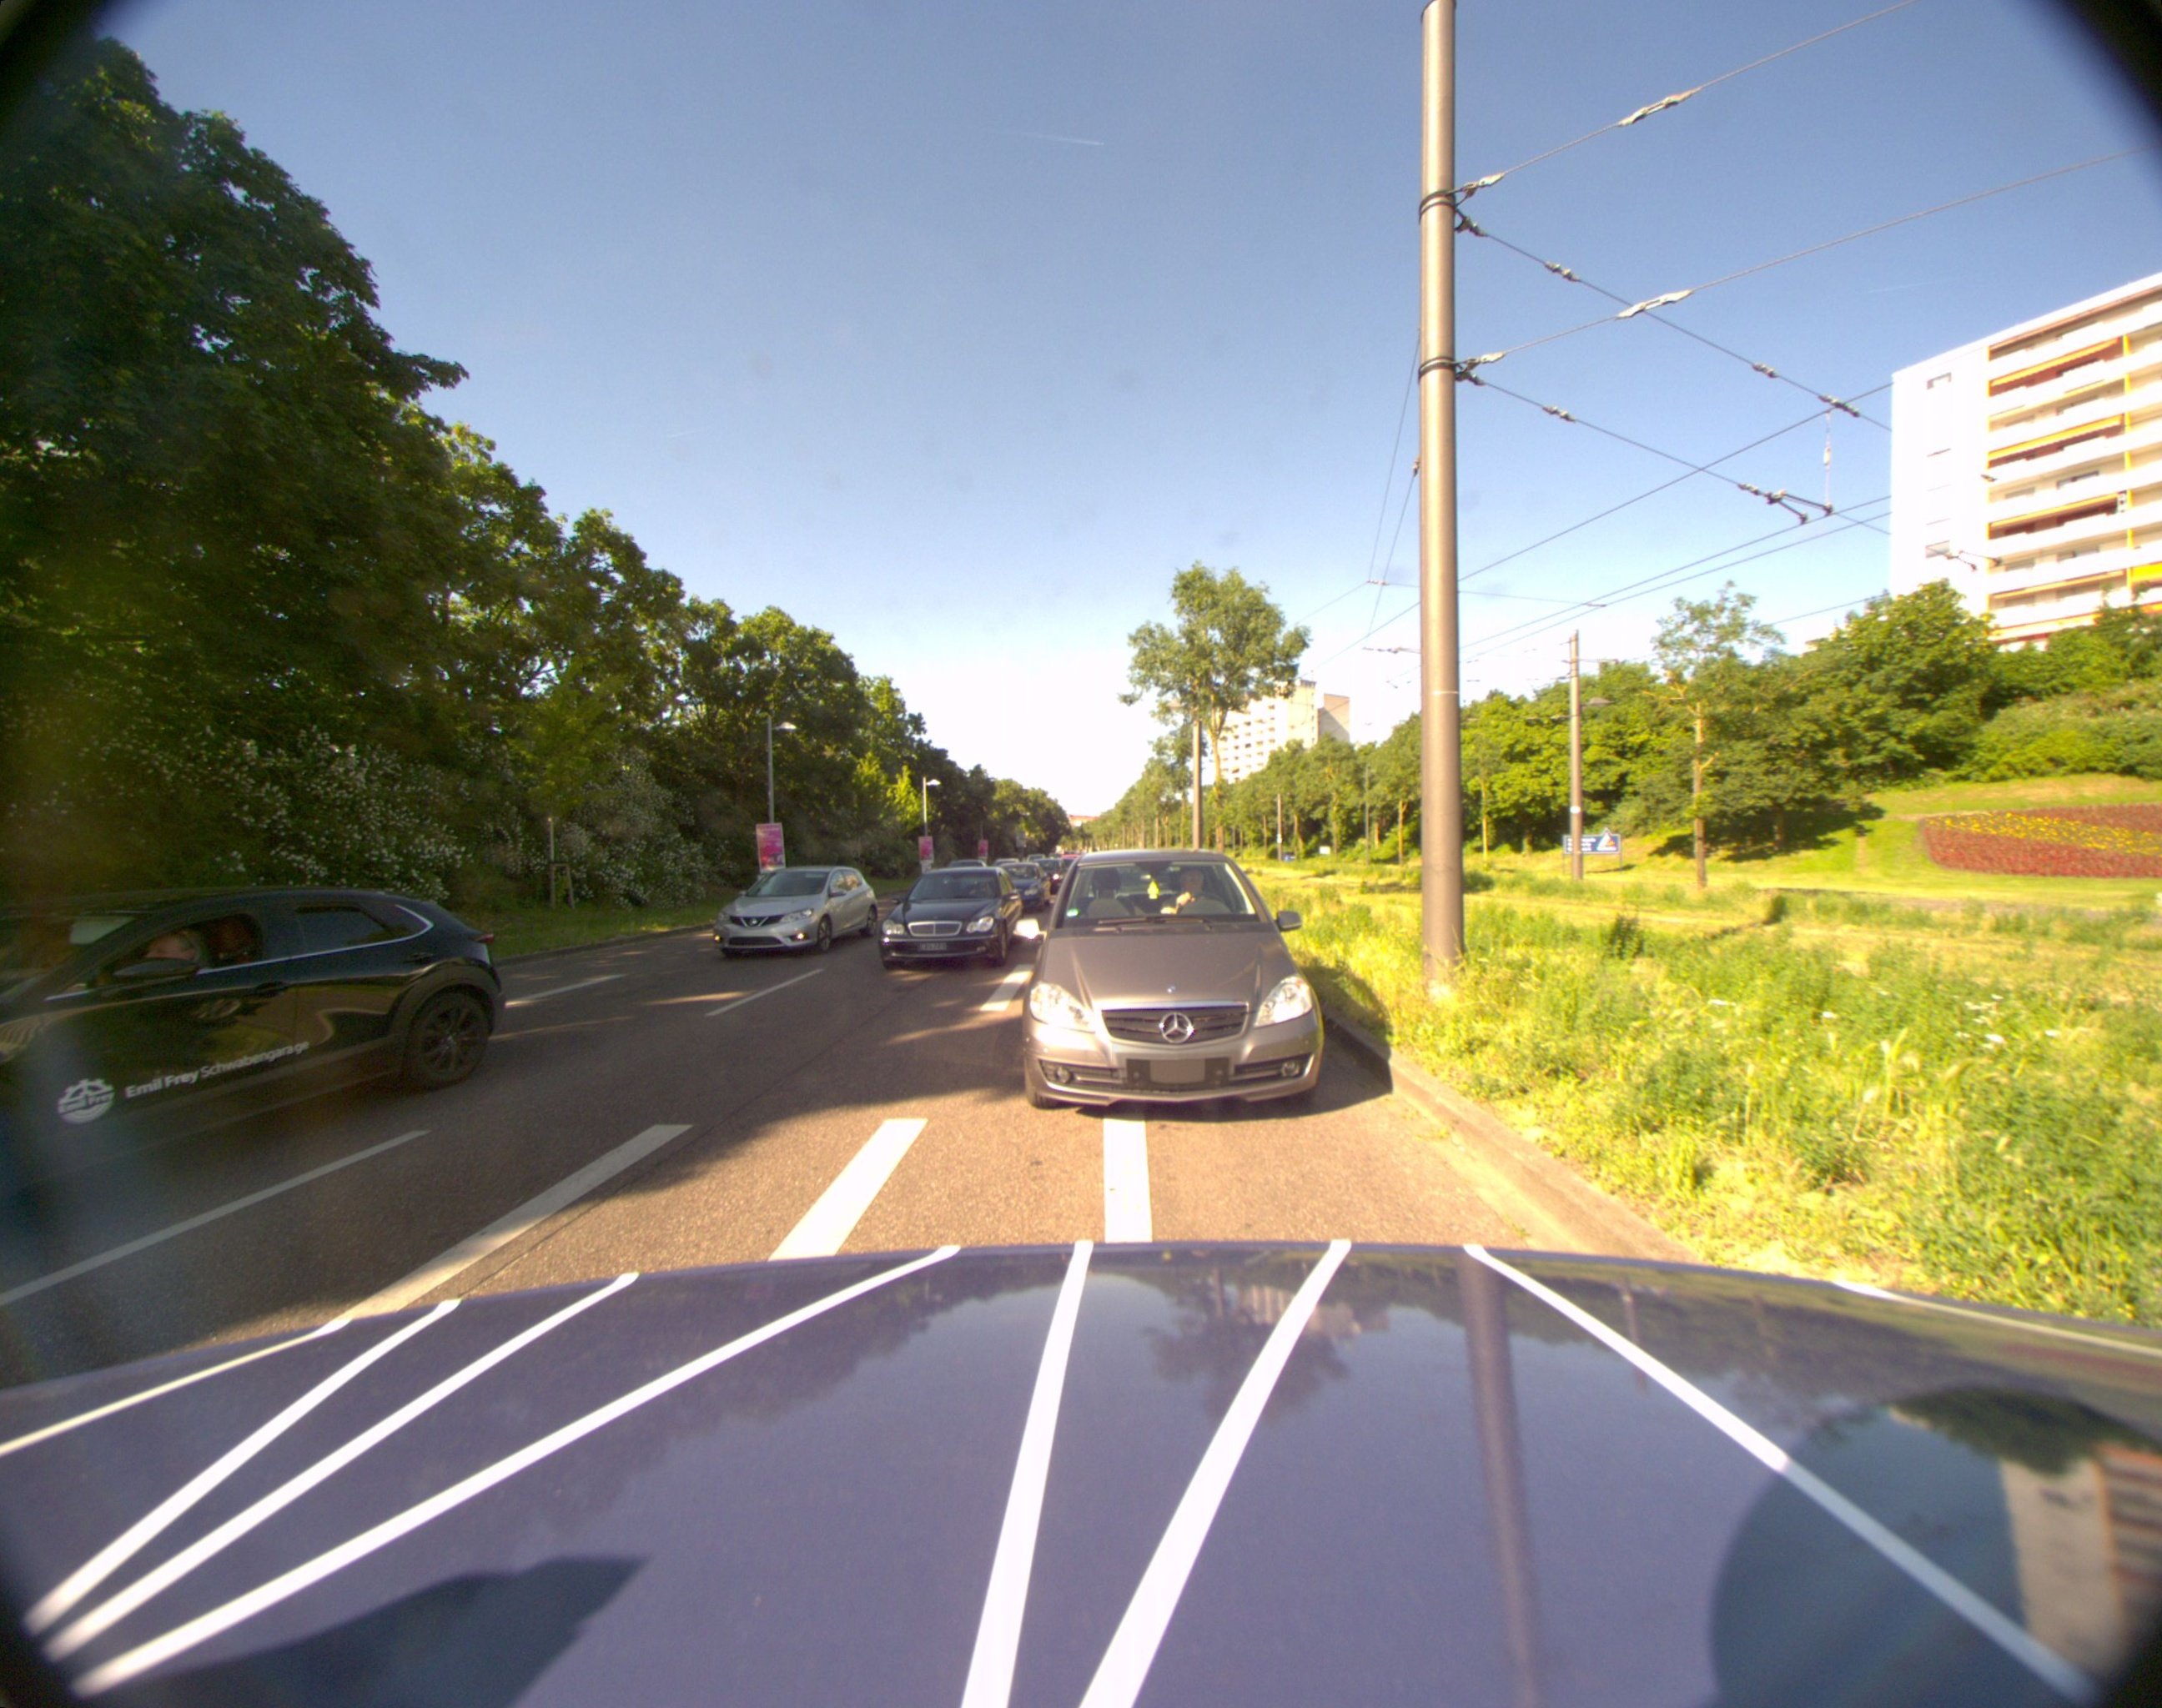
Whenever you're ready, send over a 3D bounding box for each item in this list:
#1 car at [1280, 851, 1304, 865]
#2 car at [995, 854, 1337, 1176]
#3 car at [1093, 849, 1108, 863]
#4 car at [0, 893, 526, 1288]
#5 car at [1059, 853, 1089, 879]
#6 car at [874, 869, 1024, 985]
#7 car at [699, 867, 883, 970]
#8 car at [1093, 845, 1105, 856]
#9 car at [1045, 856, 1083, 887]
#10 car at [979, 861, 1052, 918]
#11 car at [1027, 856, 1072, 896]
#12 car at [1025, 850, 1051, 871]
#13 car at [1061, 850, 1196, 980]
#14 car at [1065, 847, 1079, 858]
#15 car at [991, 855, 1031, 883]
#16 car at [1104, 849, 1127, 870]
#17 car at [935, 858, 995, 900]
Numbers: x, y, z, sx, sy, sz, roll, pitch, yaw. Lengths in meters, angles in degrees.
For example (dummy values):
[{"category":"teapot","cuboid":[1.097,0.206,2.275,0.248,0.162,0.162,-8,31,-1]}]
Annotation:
[{"category":"car","cuboid":[22.710,0.397,82.020,1.578,1.412,3.909,-1,0,1]},{"category":"car","cuboid":[0.476,0.856,6.019,1.749,1.630,4.000,-2,0,1]},{"category":"car","cuboid":[2.460,0.241,95.474,1.749,1.652,3.999,-2,1,1]},{"category":"car","cuboid":[-5.489,1.124,4.069,1.772,1.499,4.225,-2,1,2]},{"category":"car","cuboid":[-0.396,0.739,47.593,1.685,1.437,3.727,-2,1,2]},{"category":"car","cuboid":[-1.904,1.008,12.180,1.717,1.445,4.197,-1,0,-1]},{"category":"car","cuboid":[-5.183,1.069,14.220,1.726,1.508,4.137,-2,0,1]},{"category":"car","cuboid":[2.662,-0.489,113.791,1.630,1.556,3.812,-2,1,1]},{"category":"car","cuboid":[-0.824,0.842,39.288,1.713,1.430,4.171,-2,0,1]},{"category":"car","cuboid":[-1.831,0.977,22.480,1.723,1.411,4.050,-1,0,1]},{"category":"car","cuboid":[-1.264,0.869,31.711,1.621,1.485,3.452,-2,1,0]},{"category":"car","cuboid":[-3.385,0.495,60.478,1.749,1.652,4.000,-1,0,1]},{"category":"car","cuboid":[0.668,0.805,12.175,1.749,1.652,3.999,-2,1,1]},{"category":"car","cuboid":[-1.247,-0.203,107.097,1.713,1.485,3.963,-2,0,1]},{"category":"car","cuboid":[-3.997,0.853,44.165,1.749,1.427,4.386,-2,1,2]},{"category":"car","cuboid":[2.866,0.444,63.087,1.749,1.652,4.000,-1,0,1]},{"category":"car","cuboid":[-4.635,0.968,30.772,1.713,1.485,3.963,-2,0,1]}]
